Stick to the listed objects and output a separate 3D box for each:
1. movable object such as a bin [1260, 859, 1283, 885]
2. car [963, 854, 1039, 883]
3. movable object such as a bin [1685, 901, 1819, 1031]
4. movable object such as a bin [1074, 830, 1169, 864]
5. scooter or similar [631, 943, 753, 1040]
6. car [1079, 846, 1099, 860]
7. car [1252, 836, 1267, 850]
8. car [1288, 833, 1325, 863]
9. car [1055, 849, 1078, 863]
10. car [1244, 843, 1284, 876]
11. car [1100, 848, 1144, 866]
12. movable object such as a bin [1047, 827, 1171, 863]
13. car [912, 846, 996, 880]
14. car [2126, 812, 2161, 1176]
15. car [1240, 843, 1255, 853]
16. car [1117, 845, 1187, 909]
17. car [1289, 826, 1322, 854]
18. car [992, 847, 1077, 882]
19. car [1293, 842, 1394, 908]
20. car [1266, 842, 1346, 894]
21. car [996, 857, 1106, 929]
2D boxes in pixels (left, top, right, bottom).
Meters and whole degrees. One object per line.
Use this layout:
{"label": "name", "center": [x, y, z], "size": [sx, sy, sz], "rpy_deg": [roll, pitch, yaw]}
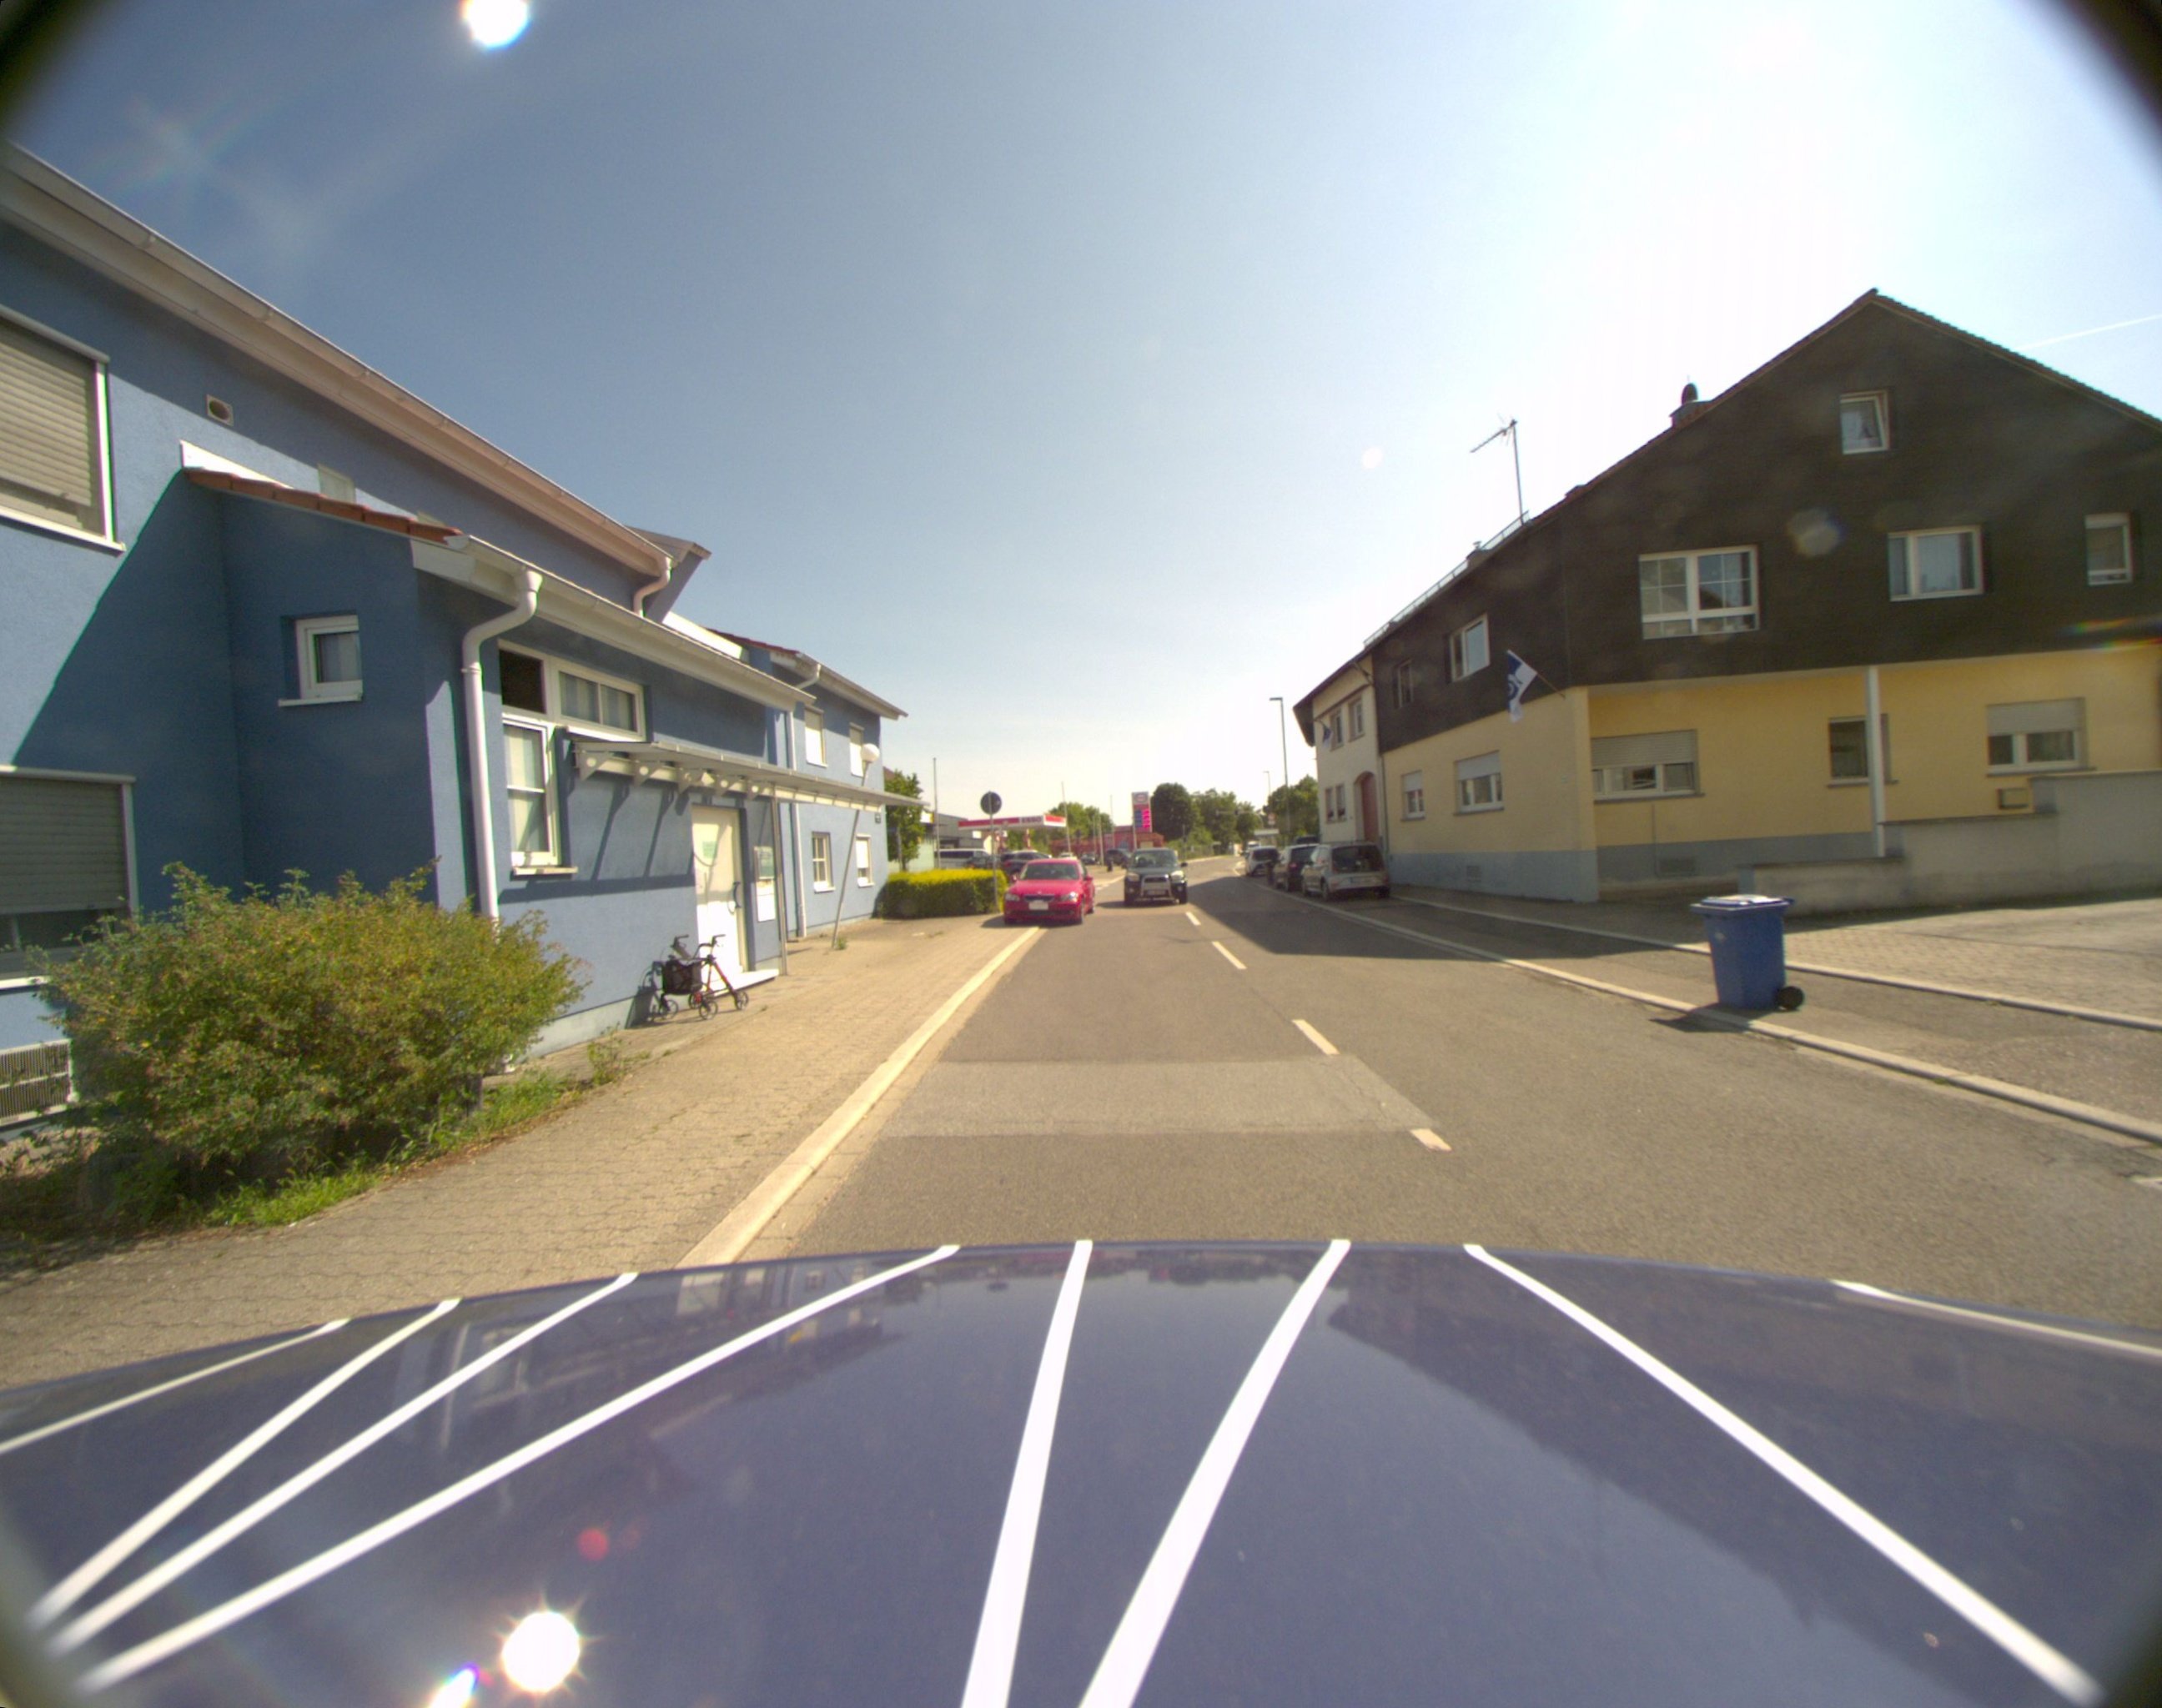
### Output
{"label": "movable object such as a bin", "center": [7.331, 0.695, 29.278], "size": [0.553, 0.923, 0.825], "rpy_deg": [-7, 0, 0]}
{"label": "car", "center": [-5.031, 0.903, 47.796], "size": [4.321, 1.541, 1.981], "rpy_deg": [-3, 1, -23]}
{"label": "movable object such as a bin", "center": [5.608, 0.918, 6.378], "size": [0.598, 0.976, 0.531], "rpy_deg": [-4, 1, 2]}
{"label": "movable object such as a bin", "center": [5.854, -1.003, 109.737], "size": [13.274, 4.141, 2.865], "rpy_deg": [-3, 1, 13]}
{"label": "scooter or similar", "center": [-3.962, 1.388, 7.790], "size": [0.729, 0.810, 0.828], "rpy_deg": [-3, 1, 8]}
{"label": "car", "center": [0.957, -0.124, 91.904], "size": [1.845, 1.583, 4.107], "rpy_deg": [-3, 1, 8]}
{"label": "car", "center": [33.772, -2.078, 143.796], "size": [1.936, 2.488, 5.845], "rpy_deg": [-2, 1, 20]}
{"label": "car", "center": [15.282, -0.443, 51.388], "size": [1.839, 1.782, 4.348], "rpy_deg": [-6, 0, 22]}
{"label": "car", "center": [-1.718, 0.203, 92.052], "size": [2.002, 1.583, 4.340], "rpy_deg": [-3, 1, 8]}
{"label": "car", "center": [9.125, 0.249, 38.176], "size": [1.687, 1.453, 3.651], "rpy_deg": [-4, 1, 11]}
{"label": "car", "center": [3.780, 0.305, 70.954], "size": [1.777, 1.546, 4.171], "rpy_deg": [-3, 1, -37]}
{"label": "movable object such as a bin", "center": [3.725, -1.127, 101.782], "size": [16.077, 3.995, 2.776], "rpy_deg": [-3, 1, 13]}
{"label": "car", "center": [-8.478, 0.580, 50.478], "size": [5.288, 2.002, 2.229], "rpy_deg": [-3, 1, -12]}
{"label": "car", "center": [5.751, 0.586, 1.140], "size": [1.925, 1.658, 4.665], "rpy_deg": [-5, 1, 2]}
{"label": "car", "center": [29.193, -1.088, 133.011], "size": [1.843, 1.583, 4.111], "rpy_deg": [-2, 1, 20]}
{"label": "car", "center": [2.189, 0.636, 23.013], "size": [1.848, 1.686, 4.400], "rpy_deg": [-2, -1, 7]}
{"label": "car", "center": [19.025, -1.220, 64.534], "size": [2.130, 1.974, 5.269], "rpy_deg": [-8, 0, 13]}
{"label": "car", "center": [-2.470, 0.530, 40.544], "size": [4.118, 1.644, 1.828], "rpy_deg": [-3, 1, -23]}
{"label": "car", "center": [7.017, 0.496, 20.700], "size": [1.644, 1.492, 3.782], "rpy_deg": [-5, 1, 5]}
{"label": "car", "center": [7.452, 0.417, 25.523], "size": [1.682, 1.429, 3.997], "rpy_deg": [-6, 0, 5]}
{"label": "car", "center": [-0.584, 0.842, 18.200], "size": [1.735, 1.485, 4.358], "rpy_deg": [-1, 0, 10]}
